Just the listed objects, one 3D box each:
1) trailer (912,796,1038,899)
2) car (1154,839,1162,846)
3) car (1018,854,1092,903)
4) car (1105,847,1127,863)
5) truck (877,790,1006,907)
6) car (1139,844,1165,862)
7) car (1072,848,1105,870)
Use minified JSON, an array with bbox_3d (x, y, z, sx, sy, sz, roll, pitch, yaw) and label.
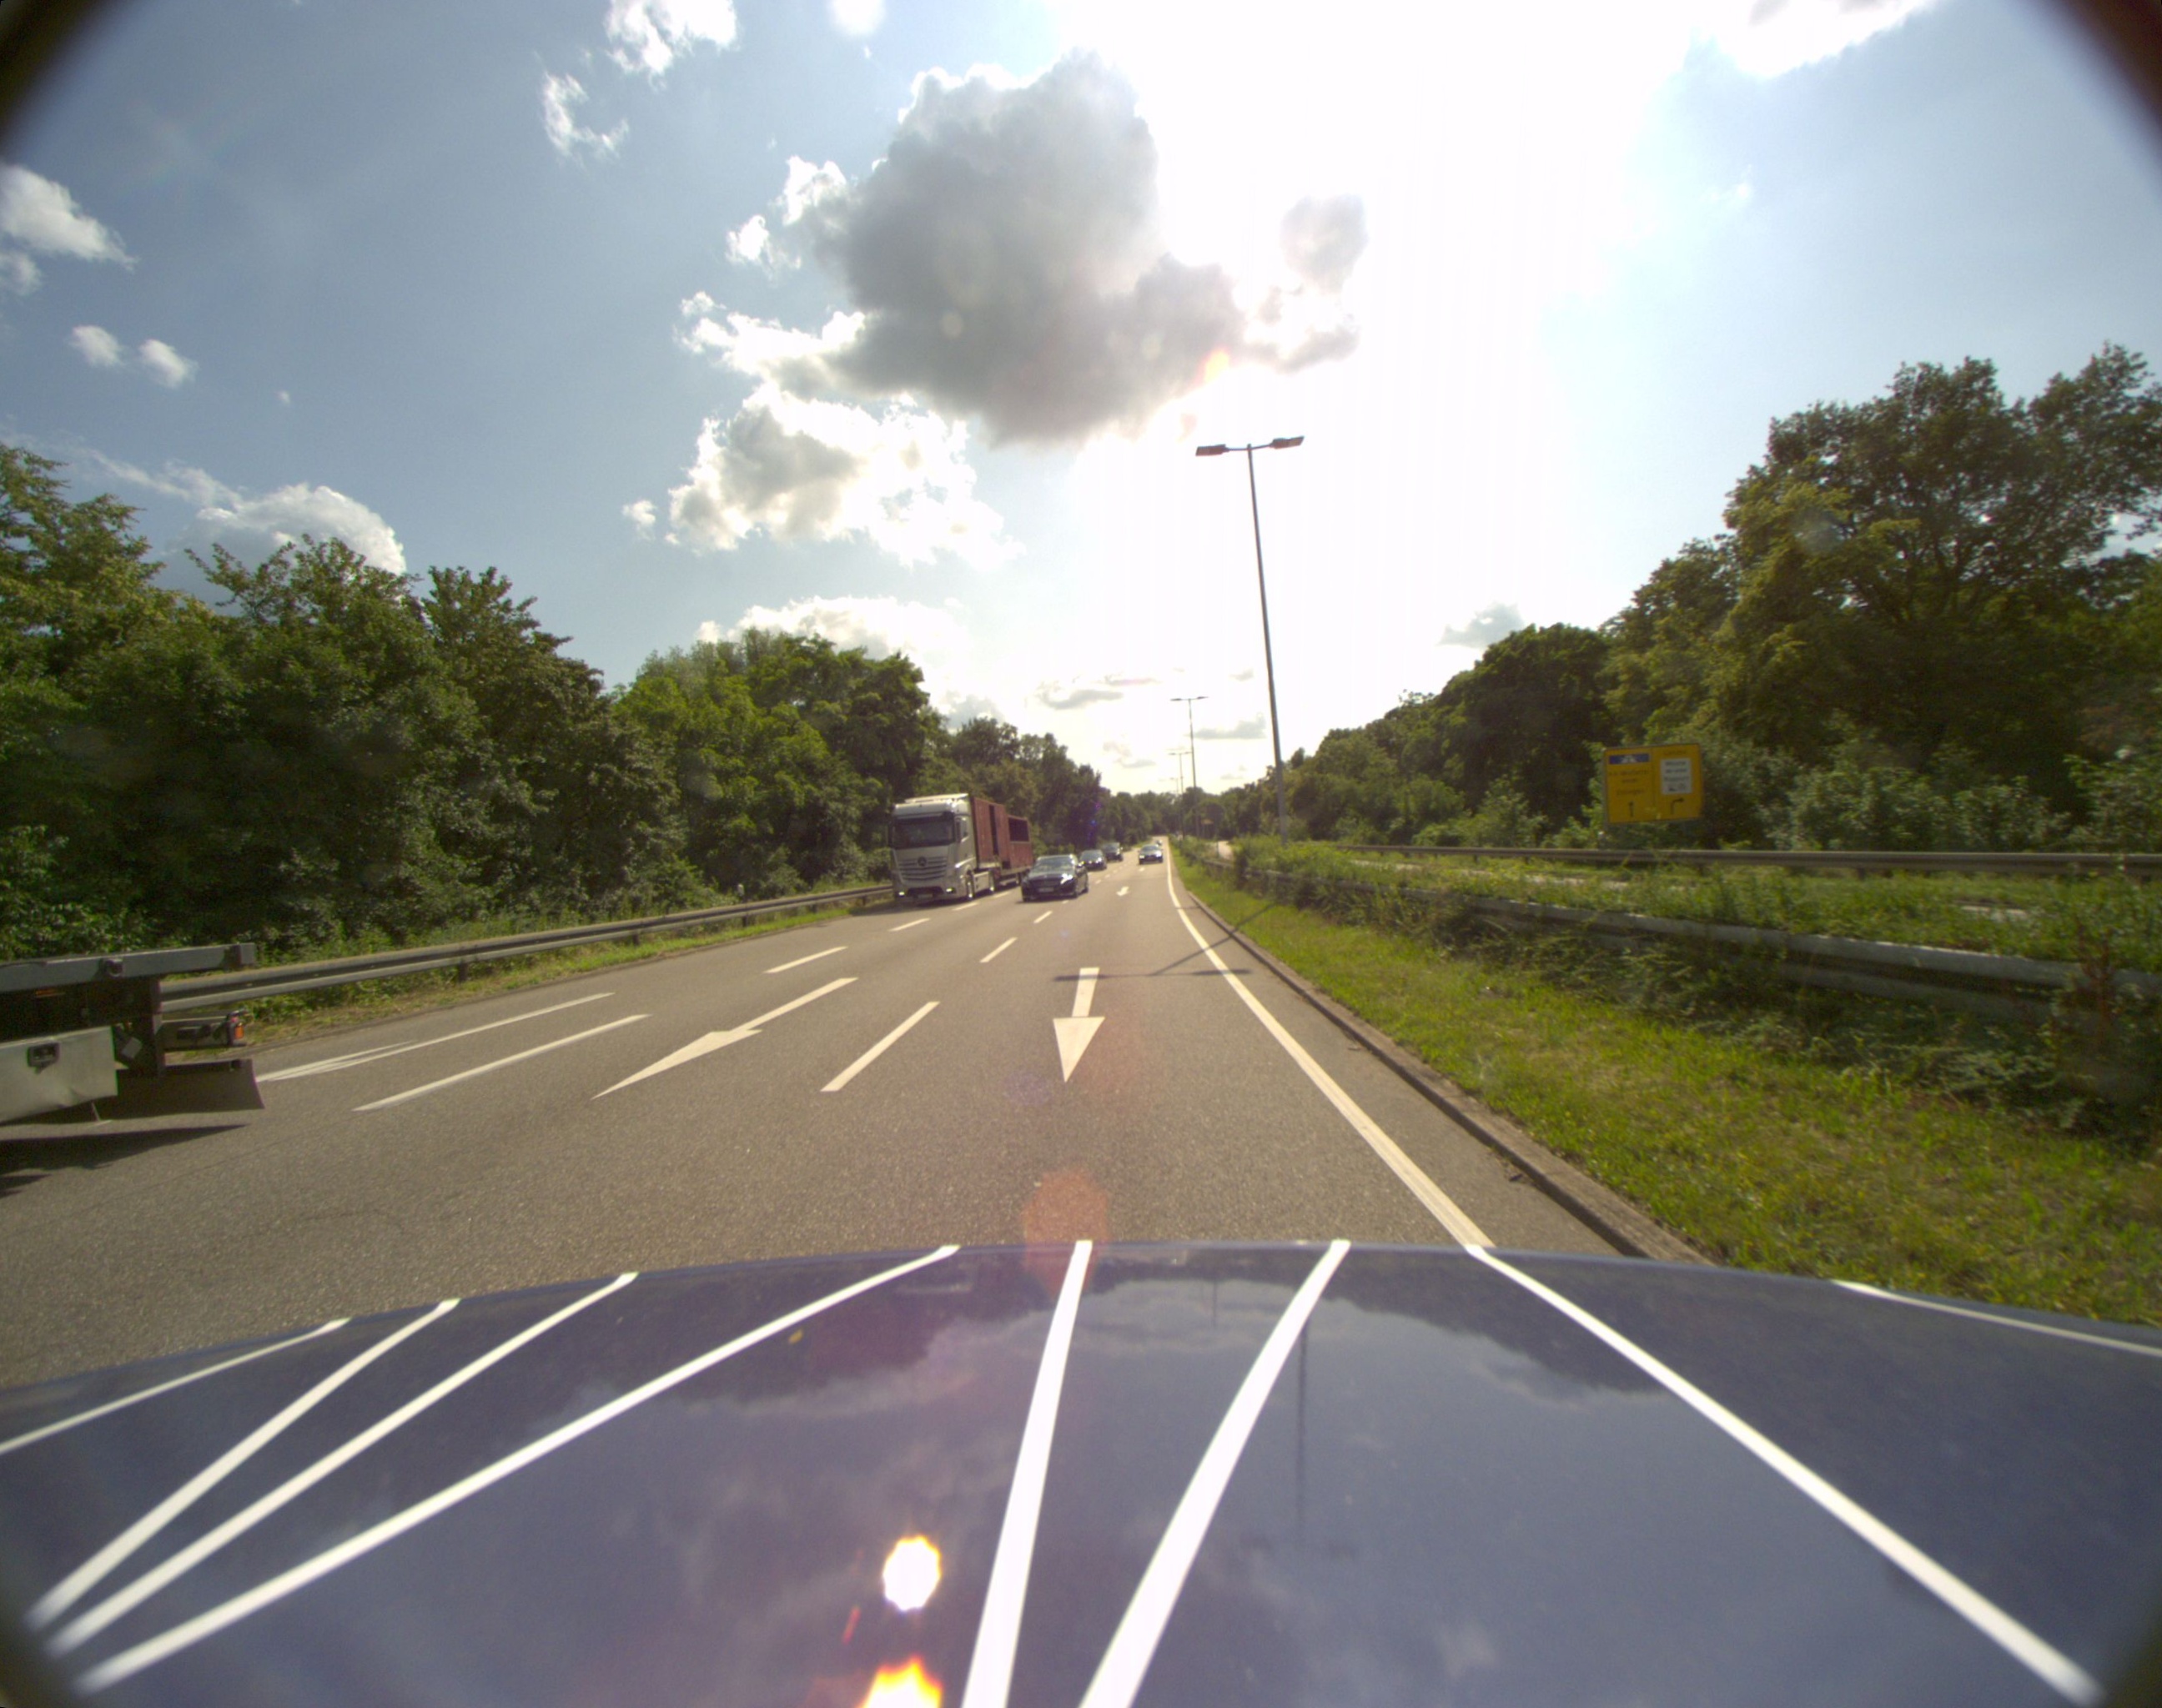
[{"bbox_3d":[-4.473,-0.258,35.596,2.777,3.827,12.326,-3,0,6],"label":"trailer"},{"bbox_3d":[21.026,-3.146,206.784,1.976,2.002,4.000,-2,1,2],"label":"car"},{"bbox_3d":[-0.799,0.774,26.092,1.794,1.427,4.371,-3,0,7],"label":"car"},{"bbox_3d":[3.375,0.098,73.021,1.857,1.402,4.002,-3,0,6],"label":"car"},{"bbox_3d":[-5.128,-0.195,29.408,2.775,3.822,6.823,-4,0,6],"label":"truck"},{"bbox_3d":[5.499,-0.074,59.128,1.858,1.354,4.001,-2,0,4],"label":"car"},{"bbox_3d":[0.570,0.313,53.822,1.857,1.402,4.002,-3,0,6],"label":"car"}]
